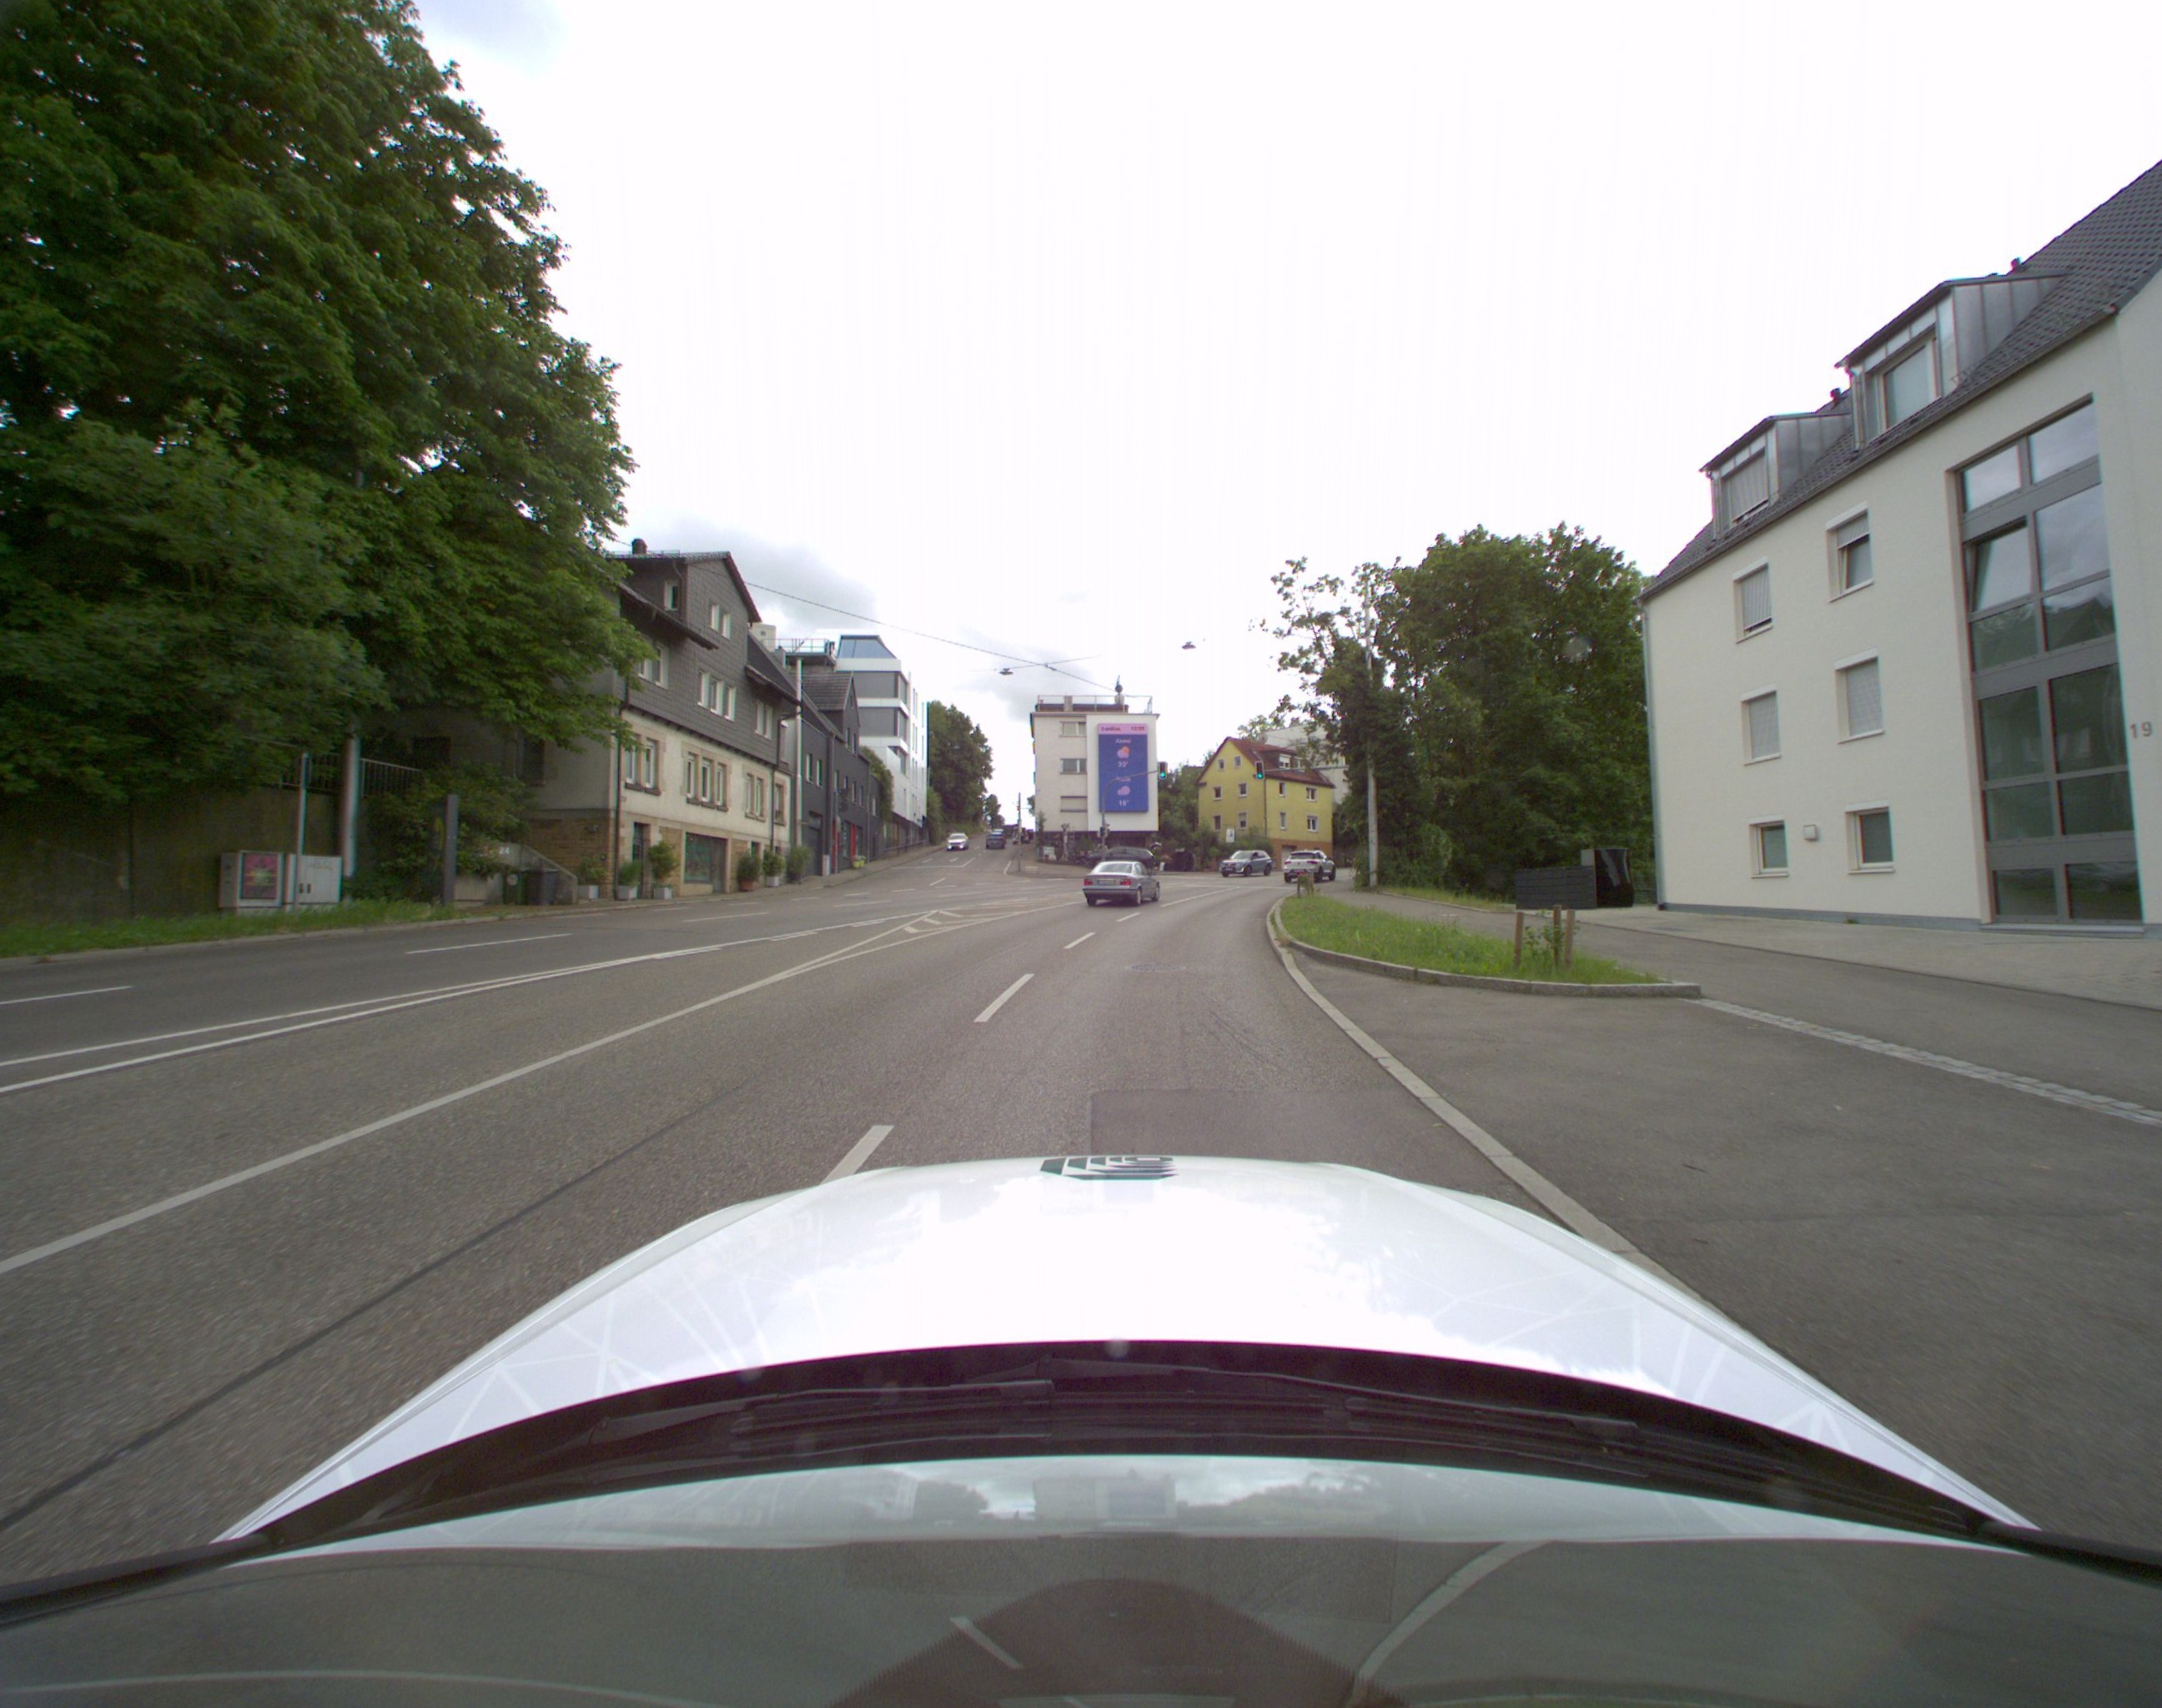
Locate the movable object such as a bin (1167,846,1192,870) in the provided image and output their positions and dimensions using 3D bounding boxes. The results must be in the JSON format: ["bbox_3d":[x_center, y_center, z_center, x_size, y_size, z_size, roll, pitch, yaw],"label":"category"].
[{"bbox_3d":[7.317,0.275,60.455,1.751,1.779,1.860,0,0,10],"label":"movable object such as a bin"}]

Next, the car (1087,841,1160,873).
[{"bbox_3d":[2.827,0.204,55.230,4.677,1.712,2.317,4,3,-3],"label":"car"}]

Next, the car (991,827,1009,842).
[{"bbox_3d":[-9.036,-2.203,91.602,1.776,1.578,3.997,1,2,-3],"label":"car"}]

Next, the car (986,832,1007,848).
[{"bbox_3d":[-8.178,-1.349,79.113,1.776,1.579,3.996,1,0,-3],"label":"car"}]

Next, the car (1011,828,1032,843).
[{"bbox_3d":[-6.580,-2.051,90.221,2.084,1.613,3.997,0,0,-2],"label":"car"}]

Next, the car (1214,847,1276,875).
[{"bbox_3d":[10.230,0.416,50.636,1.878,1.695,4.374,-1,-1,40],"label":"car"}]

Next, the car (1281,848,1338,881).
[{"bbox_3d":[11.583,0.507,41.102,1.763,1.579,4.025,0,0,31],"label":"car"}]

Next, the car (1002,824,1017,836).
[{"bbox_3d":[-9.531,-3.134,108.384,1.790,1.465,3.996,1,0,-3],"label":"car"}]

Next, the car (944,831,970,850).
[{"bbox_3d":[-11.589,-1.283,76.345,1.878,1.567,4.385,-1,3,-3],"label":"car"}]

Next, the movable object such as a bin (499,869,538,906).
[{"bbox_3d":[-15.636,0.928,22.650,0.573,1.019,0.649,0,-2,14],"label":"movable object such as a bin"}]

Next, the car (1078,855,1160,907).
[{"bbox_3d":[1.304,0.805,26.037,1.693,1.464,4.018,1,0,17],"label":"car"}]

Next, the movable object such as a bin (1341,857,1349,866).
[{"bbox_3d":[24.400,0.683,75.305,0.562,0.885,0.614,0,0,31],"label":"movable object such as a bin"}]

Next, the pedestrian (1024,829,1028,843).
[{"bbox_3d":[-5.983,-1.946,88.746,0.456,1.529,0.527,0,-1,-2],"label":"pedestrian"}]

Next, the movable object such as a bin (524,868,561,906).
[{"bbox_3d":[-14.916,0.908,22.563,0.534,1.019,0.649,0,-2,14],"label":"movable object such as a bin"}]

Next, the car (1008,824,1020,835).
[{"bbox_3d":[-12.548,-4.532,153.163,1.989,2.013,3.996,1,0,-3],"label":"car"}]
